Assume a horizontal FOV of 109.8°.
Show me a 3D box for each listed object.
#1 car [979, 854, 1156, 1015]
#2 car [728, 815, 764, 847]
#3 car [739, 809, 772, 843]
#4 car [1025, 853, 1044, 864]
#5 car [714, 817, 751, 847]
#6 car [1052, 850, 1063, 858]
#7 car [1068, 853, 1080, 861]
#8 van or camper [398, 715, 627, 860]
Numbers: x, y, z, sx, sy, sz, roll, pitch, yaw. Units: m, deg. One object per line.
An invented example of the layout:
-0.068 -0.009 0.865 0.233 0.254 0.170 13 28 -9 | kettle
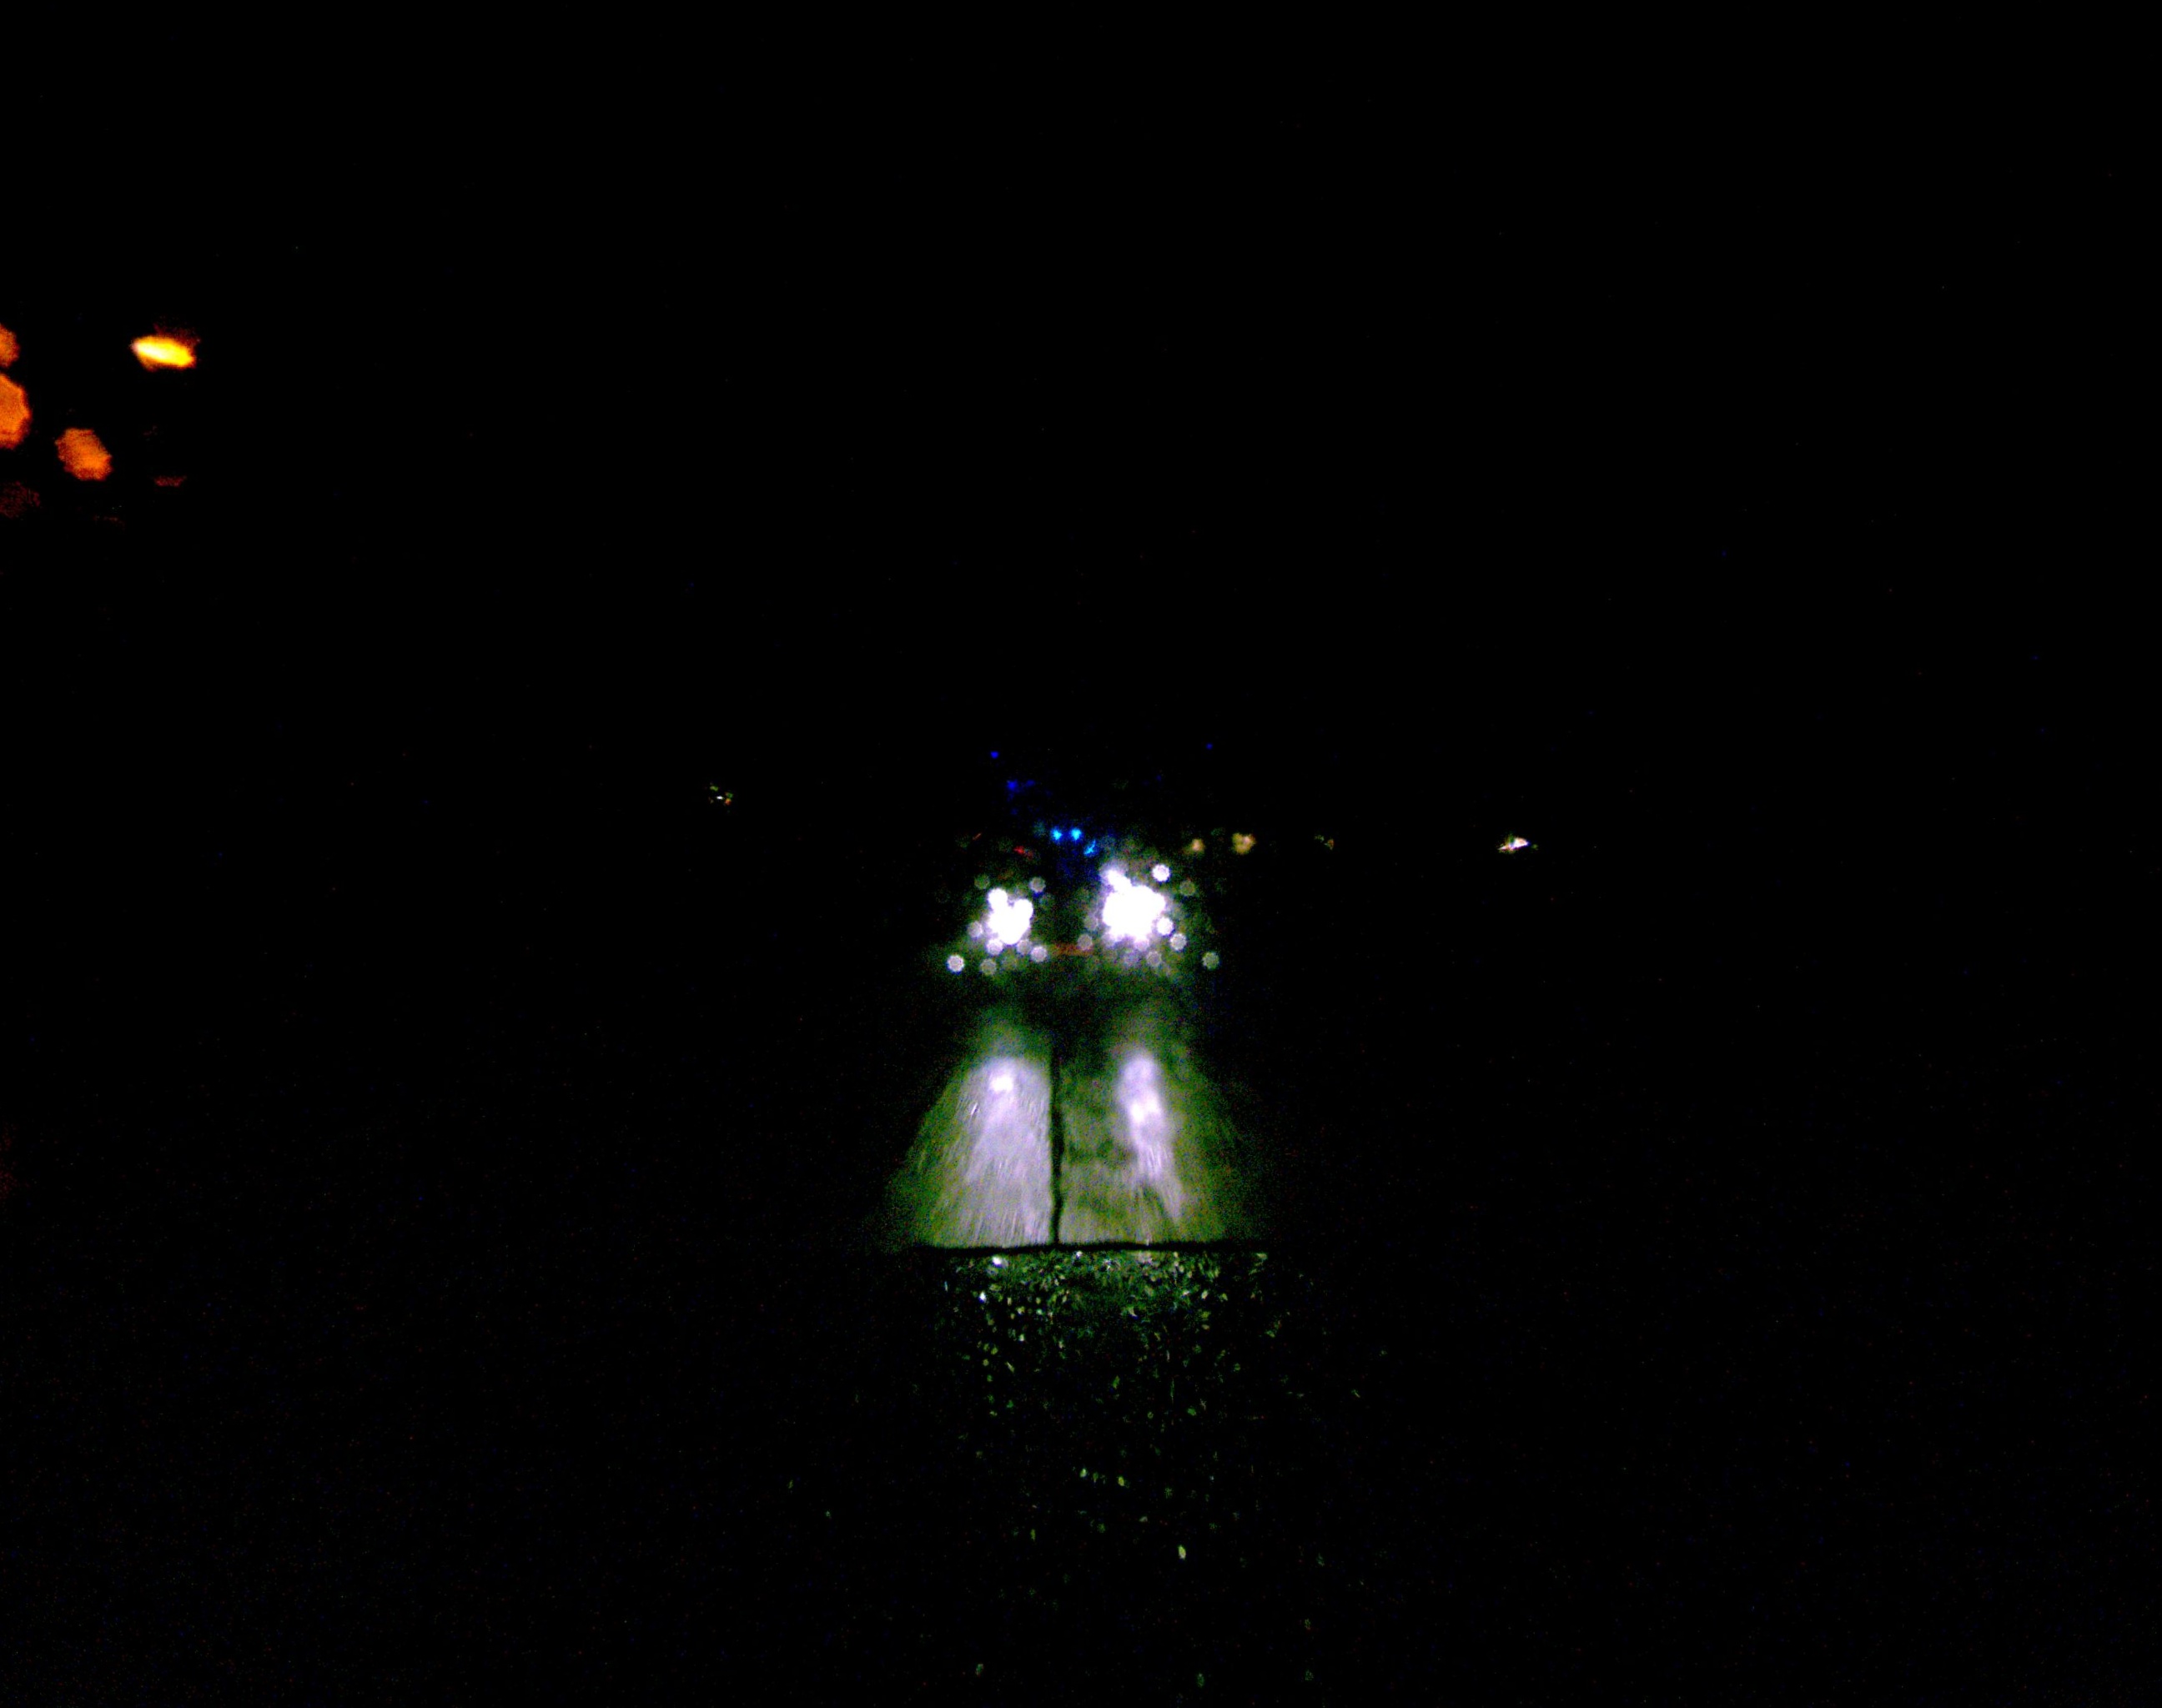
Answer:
-0.116 0.862 10.285 1.826 1.573 4.353 -3 1 1 | car
-26.358 -1.774 59.882 1.937 2.406 4.249 -3 1 -16 | car
-27.803 -2.353 65.103 1.937 2.759 4.249 -3 1 -16 | car
-8.759 0.866 142.091 2.003 2.002 3.991 -3 1 -29 | car
-24.967 -1.570 54.543 1.735 2.002 3.696 -3 1 -16 | car
-5.891 0.018 190.139 2.092 2.002 4.708 -2 1 -10 | car
-1.402 0.567 151.796 1.894 1.559 4.483 -2 -1 -8 | car
-12.690 -1.322 17.605 2.417 2.777 5.763 -3 1 -18 | van or camper
